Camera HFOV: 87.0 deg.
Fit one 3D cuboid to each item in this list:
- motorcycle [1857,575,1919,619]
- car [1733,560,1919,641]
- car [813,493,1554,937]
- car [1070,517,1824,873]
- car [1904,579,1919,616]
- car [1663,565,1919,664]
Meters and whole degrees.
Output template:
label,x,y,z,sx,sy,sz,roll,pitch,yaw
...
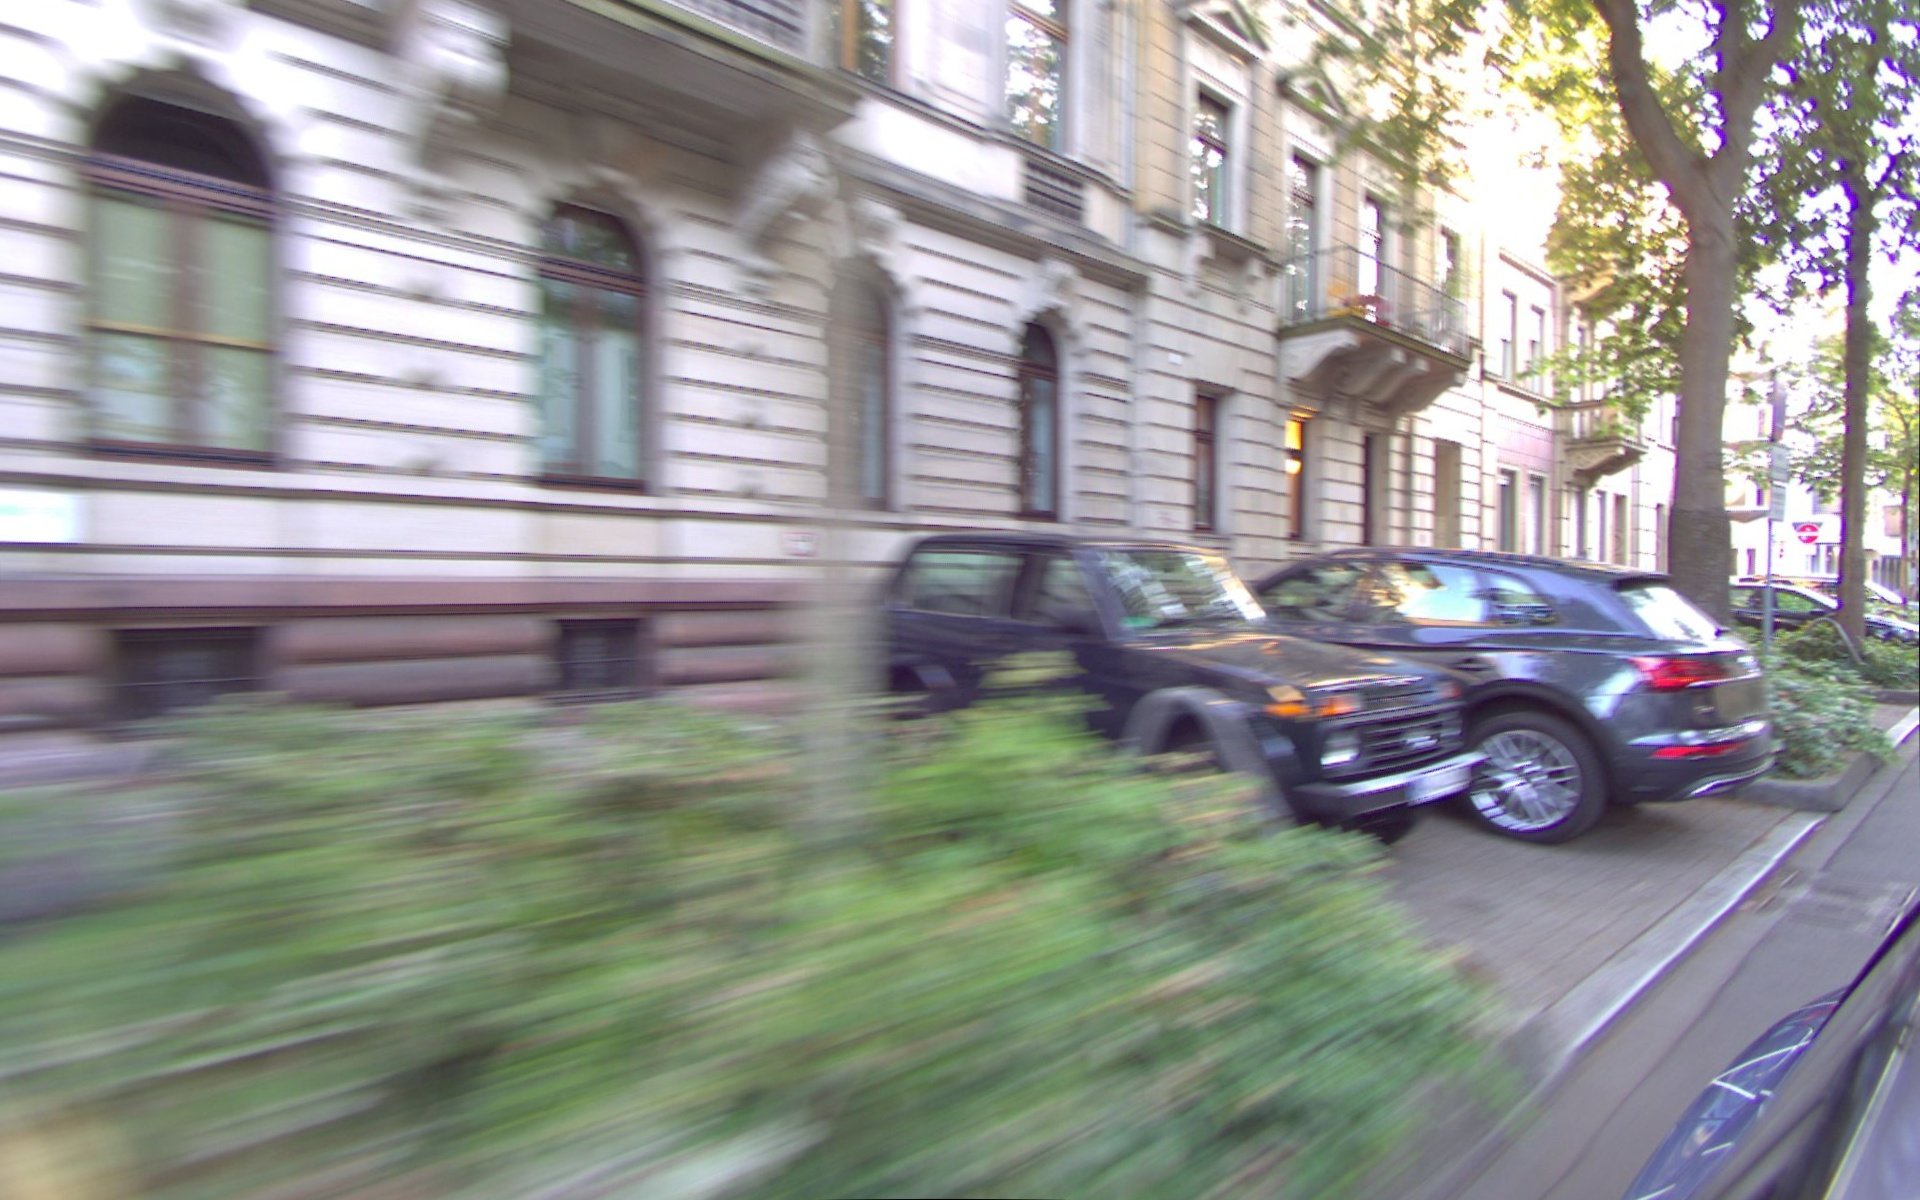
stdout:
label,x,y,z,sx,sy,sz,roll,pitch,yaw
motorcycle,33.859,-0.106,36.440,2.231,1.565,0.764,-1,1,34
car,20.695,0.008,23.090,1.830,1.580,4.430,1,4,-34
car,0.974,0.377,5.973,1.734,1.708,4.015,0,2,-41
car,3.093,0.345,7.244,1.934,1.738,4.448,-2,4,-41
car,46.071,-0.169,46.242,1.563,1.697,4.161,0,-1,-41
car,15.264,0.202,18.281,1.751,1.444,3.872,0,4,-43
